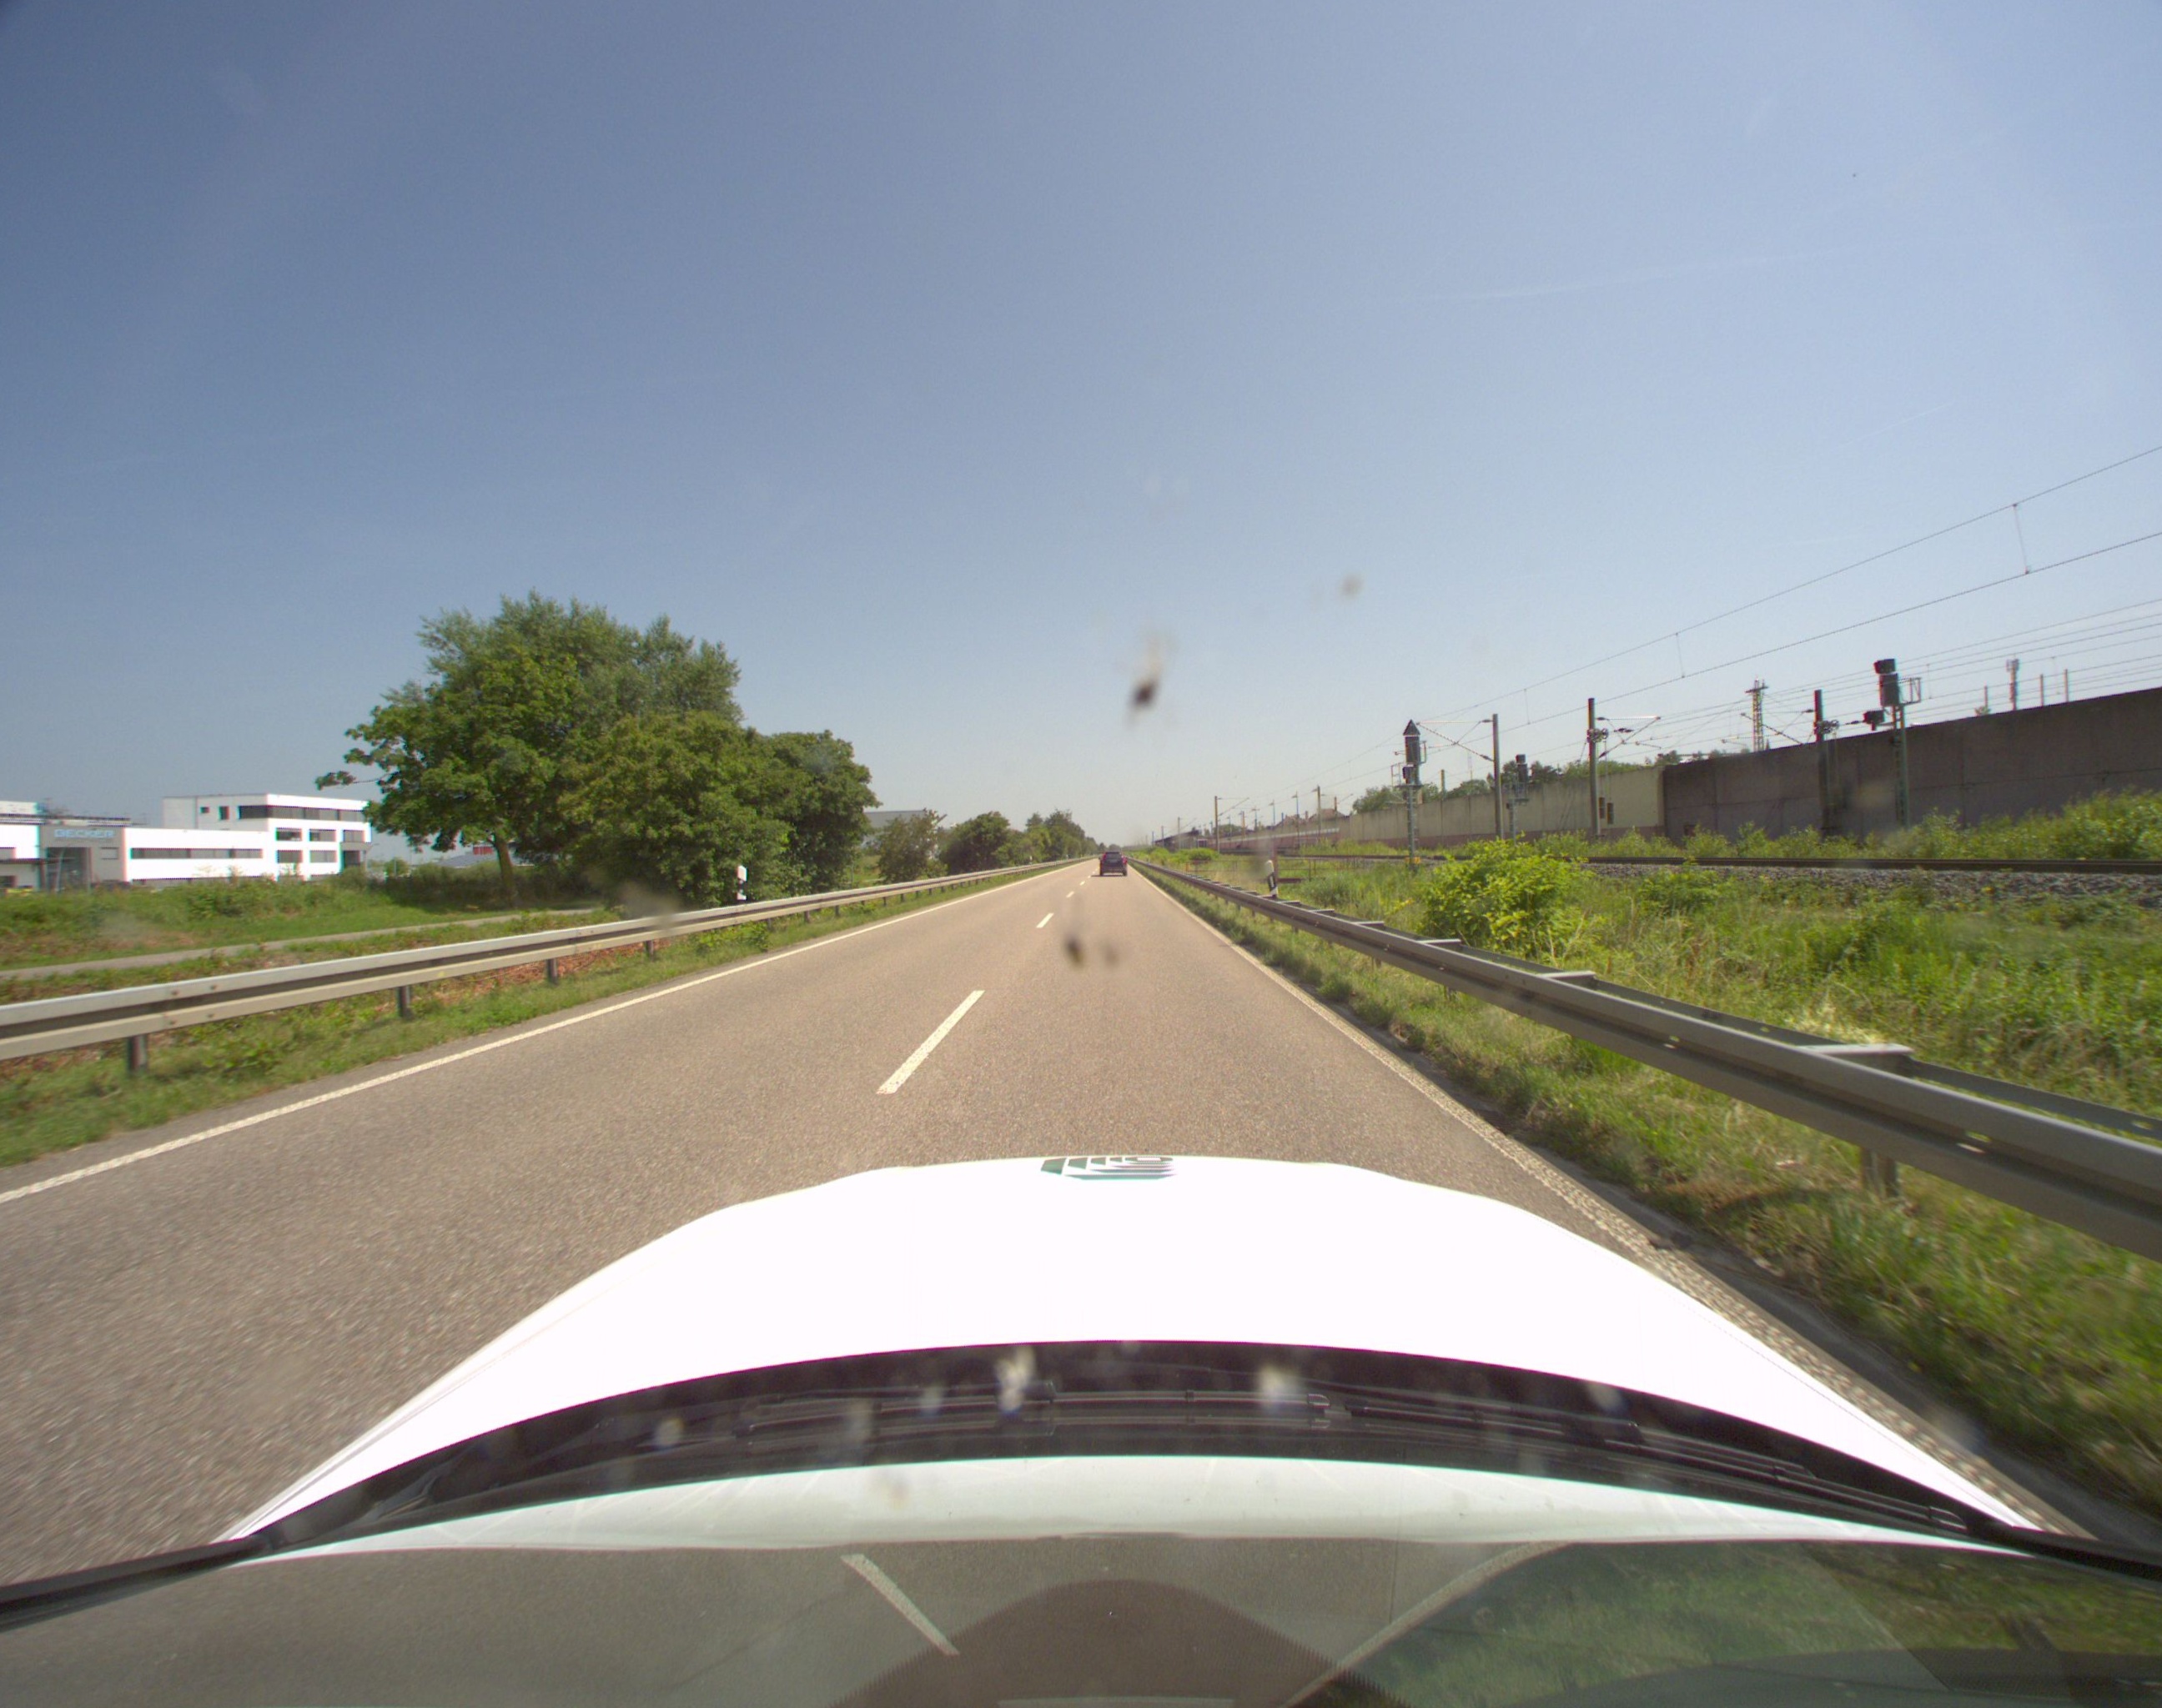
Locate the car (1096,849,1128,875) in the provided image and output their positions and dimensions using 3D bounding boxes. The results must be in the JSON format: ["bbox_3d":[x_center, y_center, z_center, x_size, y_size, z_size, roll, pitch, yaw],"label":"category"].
[{"bbox_3d":[2.118,0.545,56.456,1.987,1.700,3.999,-1,0,0],"label":"car"}]
